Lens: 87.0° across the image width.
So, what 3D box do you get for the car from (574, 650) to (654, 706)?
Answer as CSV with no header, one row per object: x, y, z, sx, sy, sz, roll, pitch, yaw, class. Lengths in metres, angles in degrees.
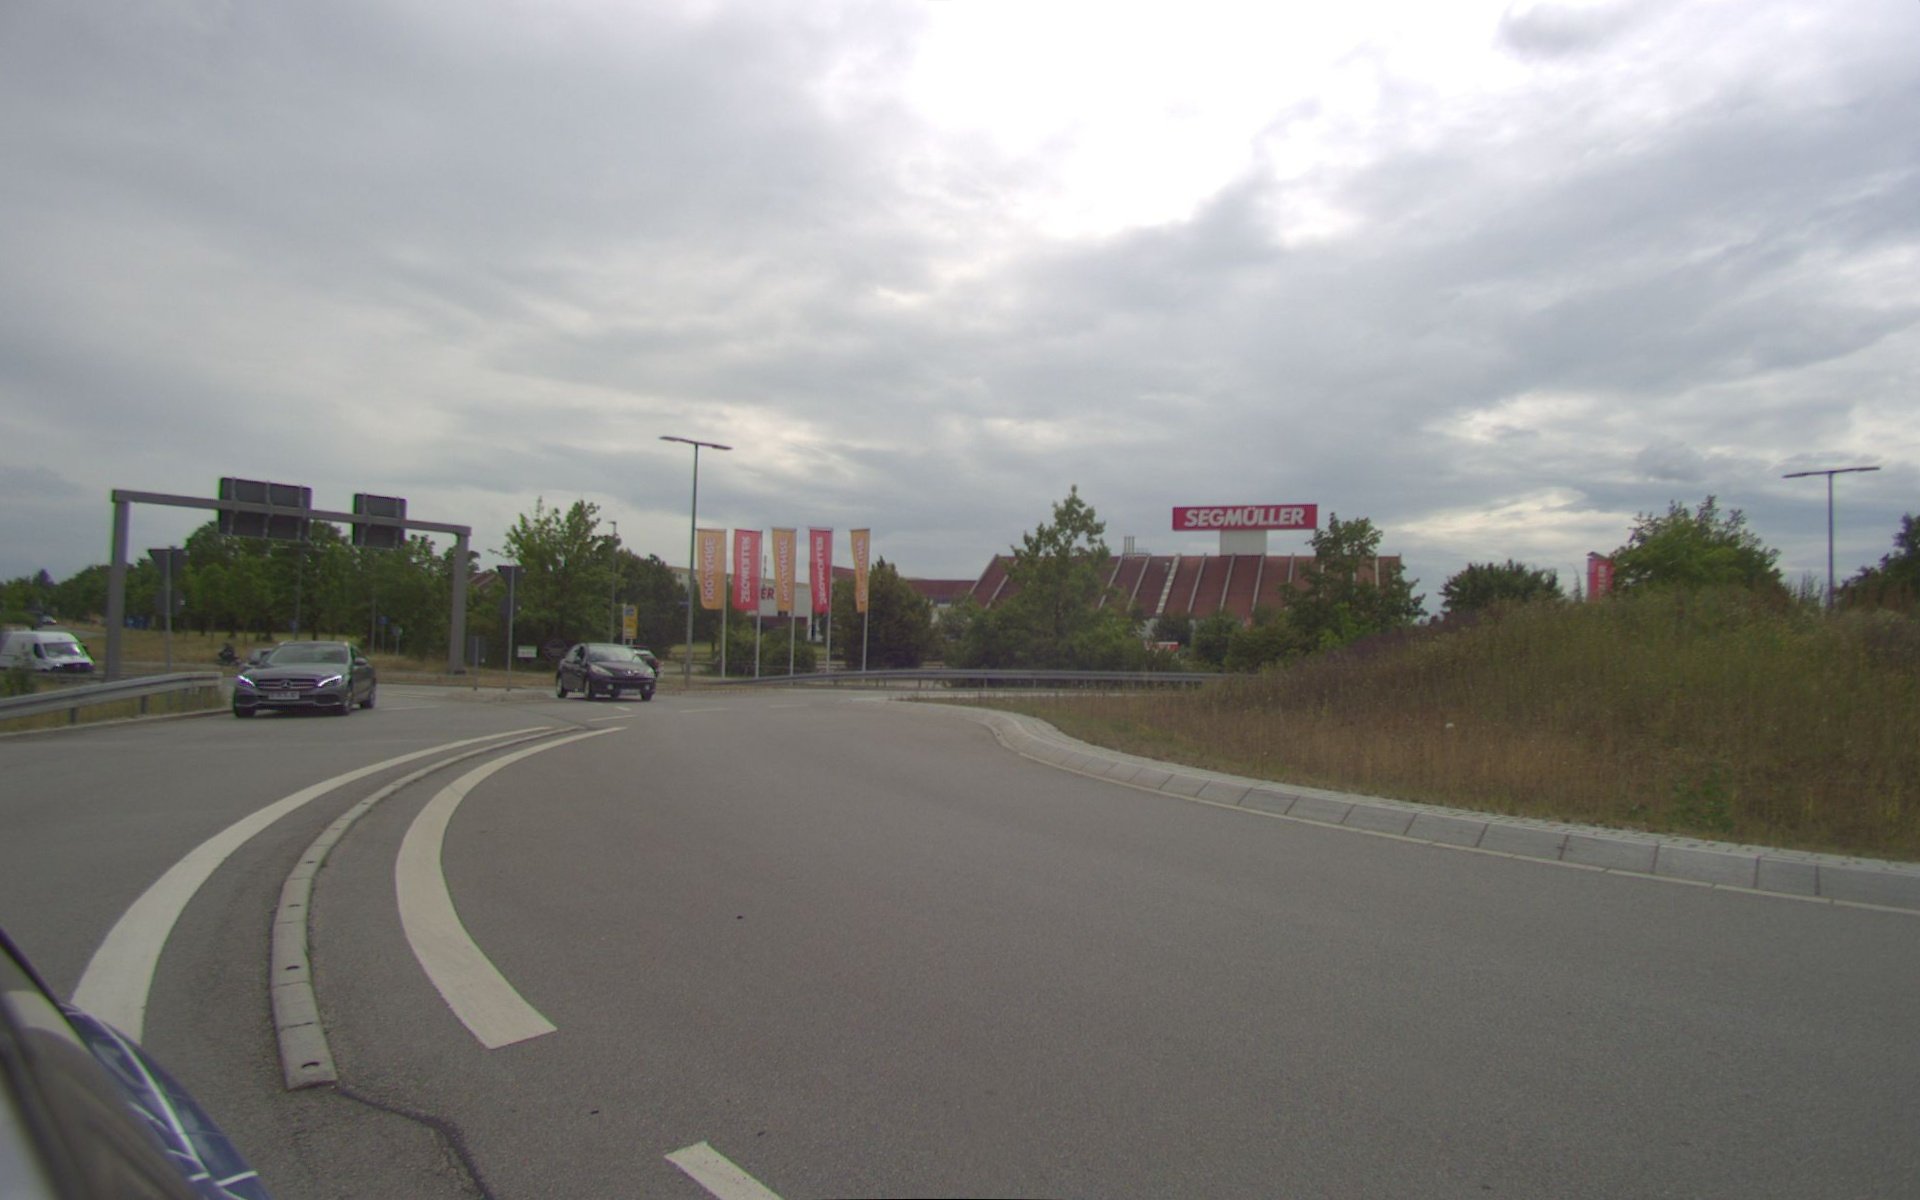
-9.223,2.024,26.833,1.554,1.364,3.836,1,-3,-26,car

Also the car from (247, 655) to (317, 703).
-23.779,2.712,35.421,1.830,1.422,4.568,2,-2,-36,car

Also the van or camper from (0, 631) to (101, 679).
-48.104,2.841,53.303,5.505,2.382,2.038,0,-2,23,van or camper

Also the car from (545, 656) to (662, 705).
-14.826,3.269,41.974,5.040,1.804,2.080,-1,-2,35,car

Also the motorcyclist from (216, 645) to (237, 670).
-45.906,3.608,63.348,0.842,1.588,0.669,-2,-5,26,motorcyclist

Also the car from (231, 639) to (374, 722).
-12.864,1.583,20.059,1.735,1.431,4.104,0,-4,-24,car

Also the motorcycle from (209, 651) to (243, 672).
-45.929,3.853,63.293,2.236,1.239,0.697,-2,-5,25,motorcycle
